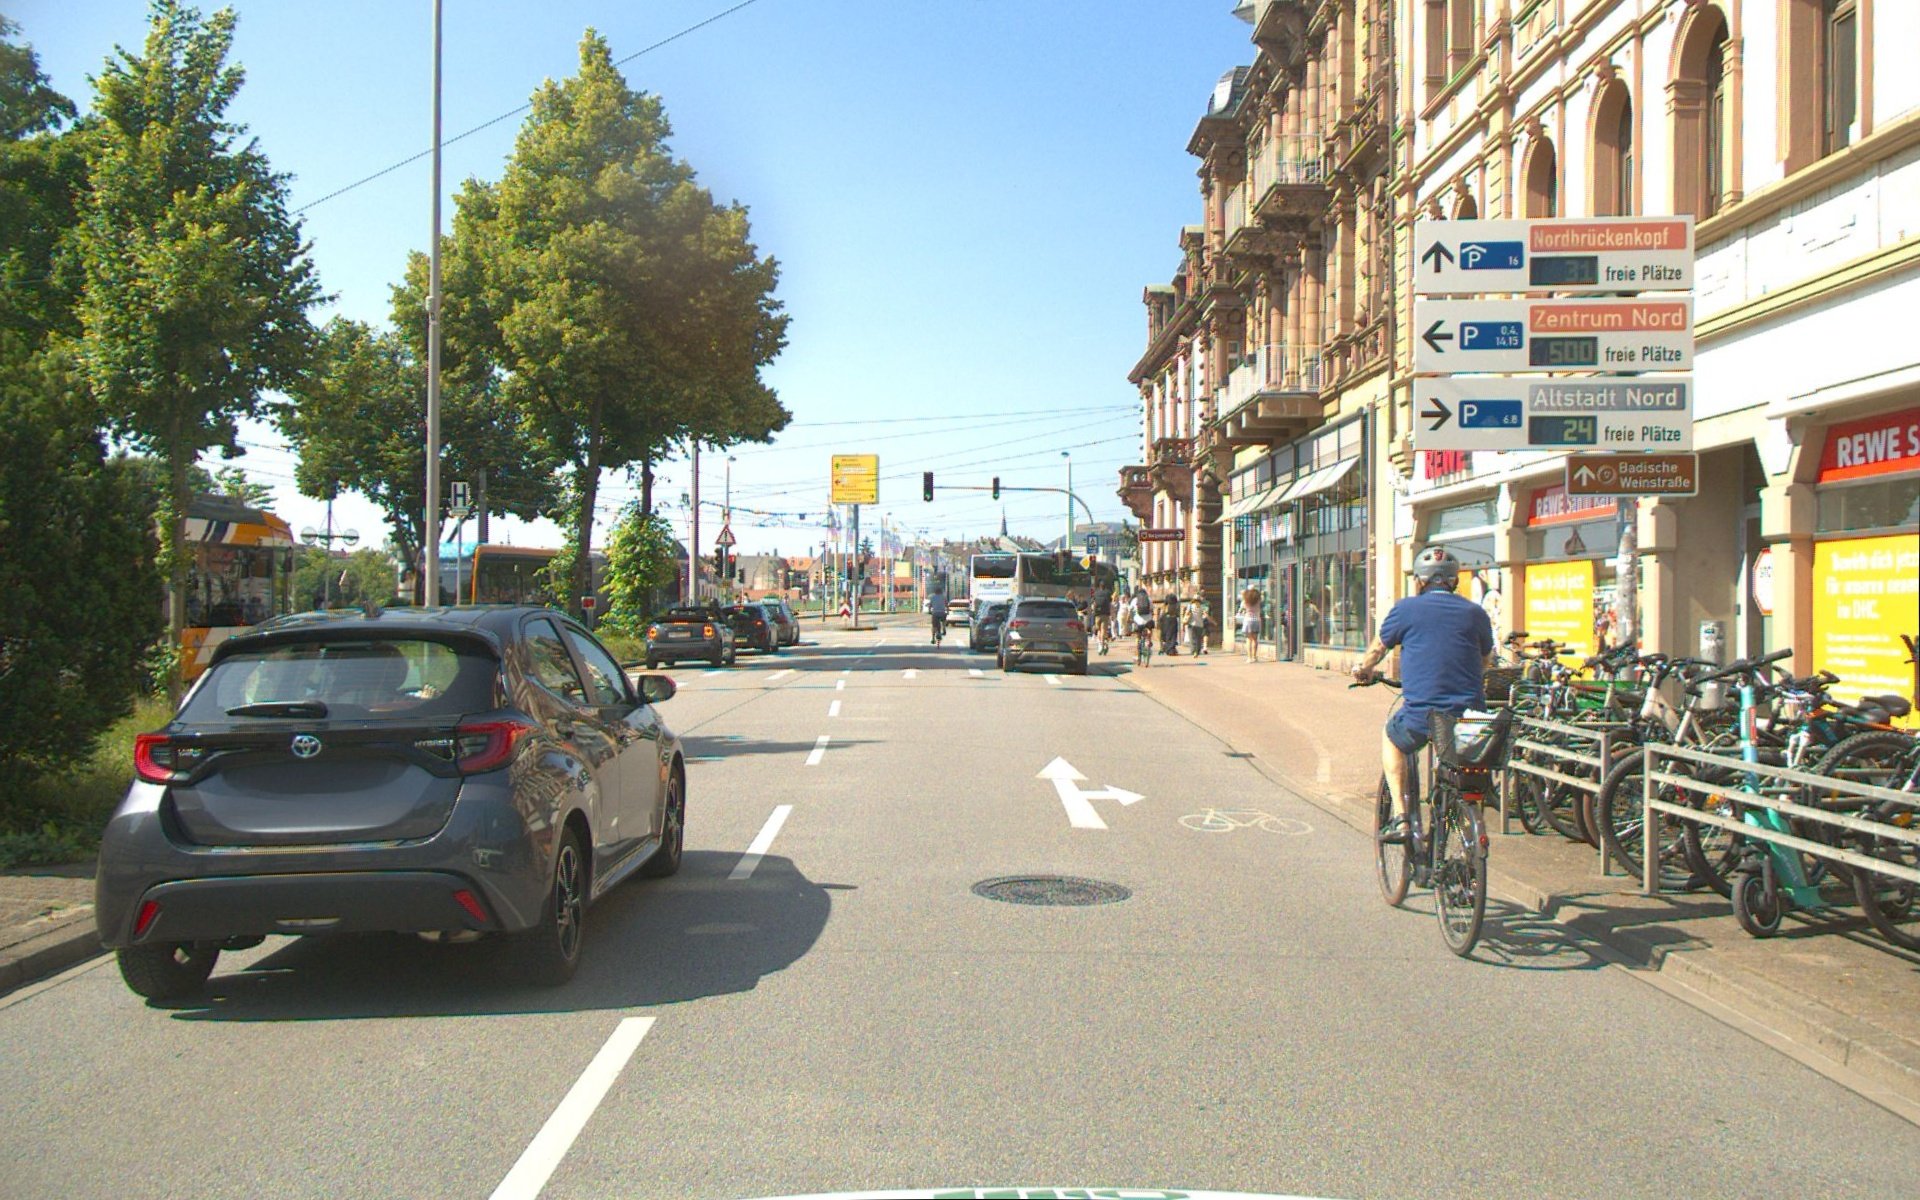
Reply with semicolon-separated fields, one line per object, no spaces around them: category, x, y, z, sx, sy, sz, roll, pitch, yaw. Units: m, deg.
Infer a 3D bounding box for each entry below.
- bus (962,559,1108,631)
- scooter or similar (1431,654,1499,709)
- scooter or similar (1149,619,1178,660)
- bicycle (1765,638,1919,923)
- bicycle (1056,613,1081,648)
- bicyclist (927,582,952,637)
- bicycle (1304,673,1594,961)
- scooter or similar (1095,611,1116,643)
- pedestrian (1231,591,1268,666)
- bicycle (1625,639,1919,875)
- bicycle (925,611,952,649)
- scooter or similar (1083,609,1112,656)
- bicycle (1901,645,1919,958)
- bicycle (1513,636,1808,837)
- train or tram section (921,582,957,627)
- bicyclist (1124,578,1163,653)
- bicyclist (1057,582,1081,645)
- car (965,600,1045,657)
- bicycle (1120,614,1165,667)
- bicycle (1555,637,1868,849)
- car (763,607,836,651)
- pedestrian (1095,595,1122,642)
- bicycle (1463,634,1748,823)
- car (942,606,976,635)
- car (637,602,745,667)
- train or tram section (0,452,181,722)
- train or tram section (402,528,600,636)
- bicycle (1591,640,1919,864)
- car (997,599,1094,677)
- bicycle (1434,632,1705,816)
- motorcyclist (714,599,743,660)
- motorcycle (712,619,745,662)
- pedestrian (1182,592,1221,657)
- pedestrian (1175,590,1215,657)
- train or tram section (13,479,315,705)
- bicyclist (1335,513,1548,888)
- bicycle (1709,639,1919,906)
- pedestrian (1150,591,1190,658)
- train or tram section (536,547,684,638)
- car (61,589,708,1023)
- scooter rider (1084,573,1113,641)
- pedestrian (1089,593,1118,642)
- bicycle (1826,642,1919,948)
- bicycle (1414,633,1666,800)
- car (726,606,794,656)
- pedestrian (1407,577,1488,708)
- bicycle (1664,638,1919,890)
bus;3.481;-0.152;73.607;2.913;2.825;8.625;2;-1;29
scooter or similar;6.624;1.062;21.723;0.677;0.661;0.565;-3;-1;-2
scooter or similar;5.345;1.033;43.465;0.588;1.066;0.799;2;-1;-3
bicycle;4.489;0.788;7.279;1.659;1.199;0.463;1;-1;0
bicycle;3.515;0.986;53.550;0.719;1.112;1.898;2;-1;2
bicyclist;-0.618;0.293;49.700;0.674;1.604;1.049;2;-1;-2
bicycle;2.232;0.943;7.819;0.719;1.112;1.910;2;-1;-2
scooter or similar;5.024;0.936;57.224;0.588;1.066;0.799;2;-1;-3
pedestrian;6.478;0.633;36.990;0.641;1.649;0.815;0;0;-2
bicycle;4.502;0.832;8.898;1.659;1.199;0.459;1;-1;0
bicycle;-0.658;0.900;49.741;0.719;1.112;1.897;2;-1;-2
scooter or similar;3.634;0.852;43.769;0.674;1.188;1.464;2;-1;2
bicycle;4.529;0.794;6.254;1.659;1.199;0.490;1;-1;0
bicycle;4.403;0.846;10.441;1.659;1.199;0.469;1;-1;-1
train or tram section;-1.782;0.405;146.889;2.764;3.843;8.227;2;0;1
bicyclist;4.030;0.341;36.360;0.674;1.604;1.049;2;-1;-1
bicyclist;3.525;0.440;53.388;0.674;1.996;0.778;2;-1;2
car;1.261;0.825;47.963;1.954;1.519;3.997;2;-1;-3
bicycle;4.019;0.882;36.481;0.719;1.112;1.897;2;-1;-1
bicycle;4.495;0.842;9.935;1.659;1.199;0.469;1;-1;-1
car;-5.335;0.975;55.376;1.995;1.355;4.000;2;-1;0
pedestrian;5.287;0.641;59.030;0.845;1.669;0.875;0;0;-2
bicycle;4.280;0.839;11.036;1.658;1.199;0.608;-1;0;0
car;-0.049;1.139;91.538;1.820;1.533;4.000;2;-1;0
car;-6.191;0.794;38.408;1.778;1.355;4.000;2;-1;0
train or tram section;-14.248;-0.188;23.993;2.560;3.644;6.896;2;-1;-1
train or tram section;-16.965;-0.509;62.091;2.762;3.644;10.039;-1;-2;12
bicycle;4.519;0.851;9.420;1.659;1.199;0.460;1;-1;0
car;1.779;0.804;35.451;1.835;1.519;4.000;2;-1;0
bicycle;4.284;0.858;11.690;1.659;1.199;0.608;-2;0;0
motorcyclist;-6.049;0.778;43.240;0.675;1.583;0.717;-1;-2;-4
motorcycle;-6.058;1.046;43.314;0.684;1.082;1.908;-2;0;-3
pedestrian;6.404;0.649;43.911;0.845;1.669;0.875;2;-1;-2
pedestrian;5.886;0.585;41.386;0.845;1.669;0.875;0;-1;-2
train or tram section;-14.366;-0.091;30.423;2.560;3.644;6.015;2;-1;-1
bicyclist;2.249;0.453;7.814;0.674;1.644;0.918;2;-1;-2
bicycle;4.468;0.804;7.796;1.659;1.199;0.457;1;-1;0
pedestrian;5.431;0.636;42.890;0.845;1.669;0.875;2;-1;-2
train or tram section;-14.866;-0.201;71.026;2.762;3.644;8.230;-1;-2;16
car;-2.340;0.757;7.855;1.741;1.501;3.998;-1;-1;-1
scooter rider;3.674;0.181;43.818;0.674;1.759;0.778;2;-1;2
pedestrian;5.021;0.626;57.921;0.845;1.669;0.875;2;-1;-2
bicycle;4.494;0.793;6.769;1.659;1.199;0.451;1;-1;0
bicycle;4.297;0.852;12.322;1.658;1.199;0.608;0;0;0
car;-5.749;0.883;47.828;1.422;1.323;4.000;2;-1;0
pedestrian;6.570;0.571;22.328;0.740;1.685;0.837;-3;-2;-2
bicycle;4.494;0.815;8.344;1.659;1.199;0.514;1;-1;0
